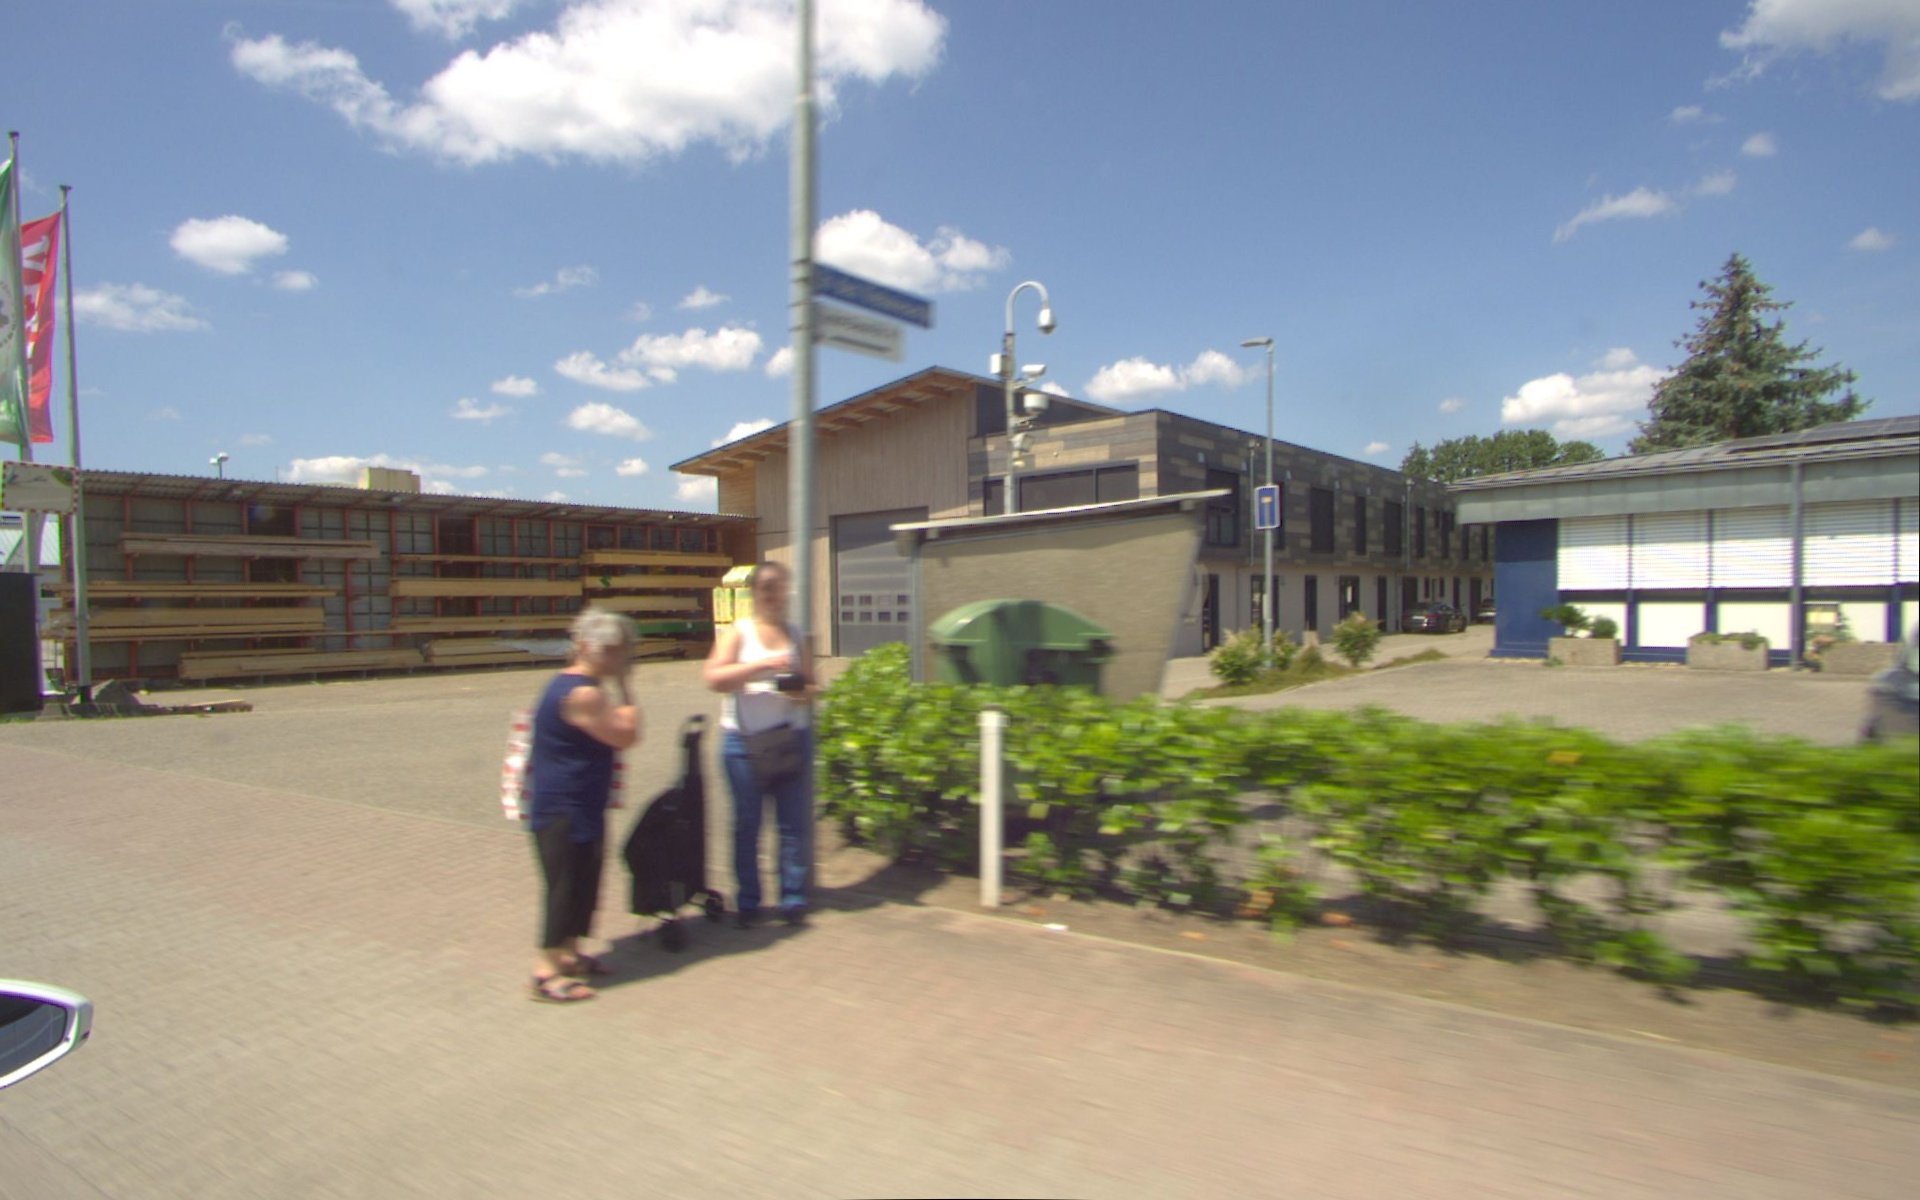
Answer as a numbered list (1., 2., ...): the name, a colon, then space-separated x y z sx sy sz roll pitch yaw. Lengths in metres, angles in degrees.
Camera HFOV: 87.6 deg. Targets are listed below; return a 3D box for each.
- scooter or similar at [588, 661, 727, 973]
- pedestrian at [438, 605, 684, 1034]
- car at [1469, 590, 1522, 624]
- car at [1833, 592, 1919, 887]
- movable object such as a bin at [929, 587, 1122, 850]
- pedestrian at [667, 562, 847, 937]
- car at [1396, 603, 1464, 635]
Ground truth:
1. scooter or similar: -1.271 0.879 4.214 0.392 1.213 0.333 -2 0 33
2. pedestrian: -1.477 0.749 3.737 0.575 1.423 0.564 -3 0 31
3. car: 29.804 0.411 55.657 1.975 1.772 3.972 -1 -1 38
4. car: 5.659 0.687 4.693 1.792 1.474 3.837 -1 -1 32
5. movable object such as a bin: 0.356 0.687 6.314 1.029 1.477 1.267 0 -1 -5
6. pedestrian: -0.907 0.628 4.518 0.503 1.560 0.534 -2 0 31
7. car: 21.397 0.873 45.499 1.975 1.394 3.972 -1 -1 38
